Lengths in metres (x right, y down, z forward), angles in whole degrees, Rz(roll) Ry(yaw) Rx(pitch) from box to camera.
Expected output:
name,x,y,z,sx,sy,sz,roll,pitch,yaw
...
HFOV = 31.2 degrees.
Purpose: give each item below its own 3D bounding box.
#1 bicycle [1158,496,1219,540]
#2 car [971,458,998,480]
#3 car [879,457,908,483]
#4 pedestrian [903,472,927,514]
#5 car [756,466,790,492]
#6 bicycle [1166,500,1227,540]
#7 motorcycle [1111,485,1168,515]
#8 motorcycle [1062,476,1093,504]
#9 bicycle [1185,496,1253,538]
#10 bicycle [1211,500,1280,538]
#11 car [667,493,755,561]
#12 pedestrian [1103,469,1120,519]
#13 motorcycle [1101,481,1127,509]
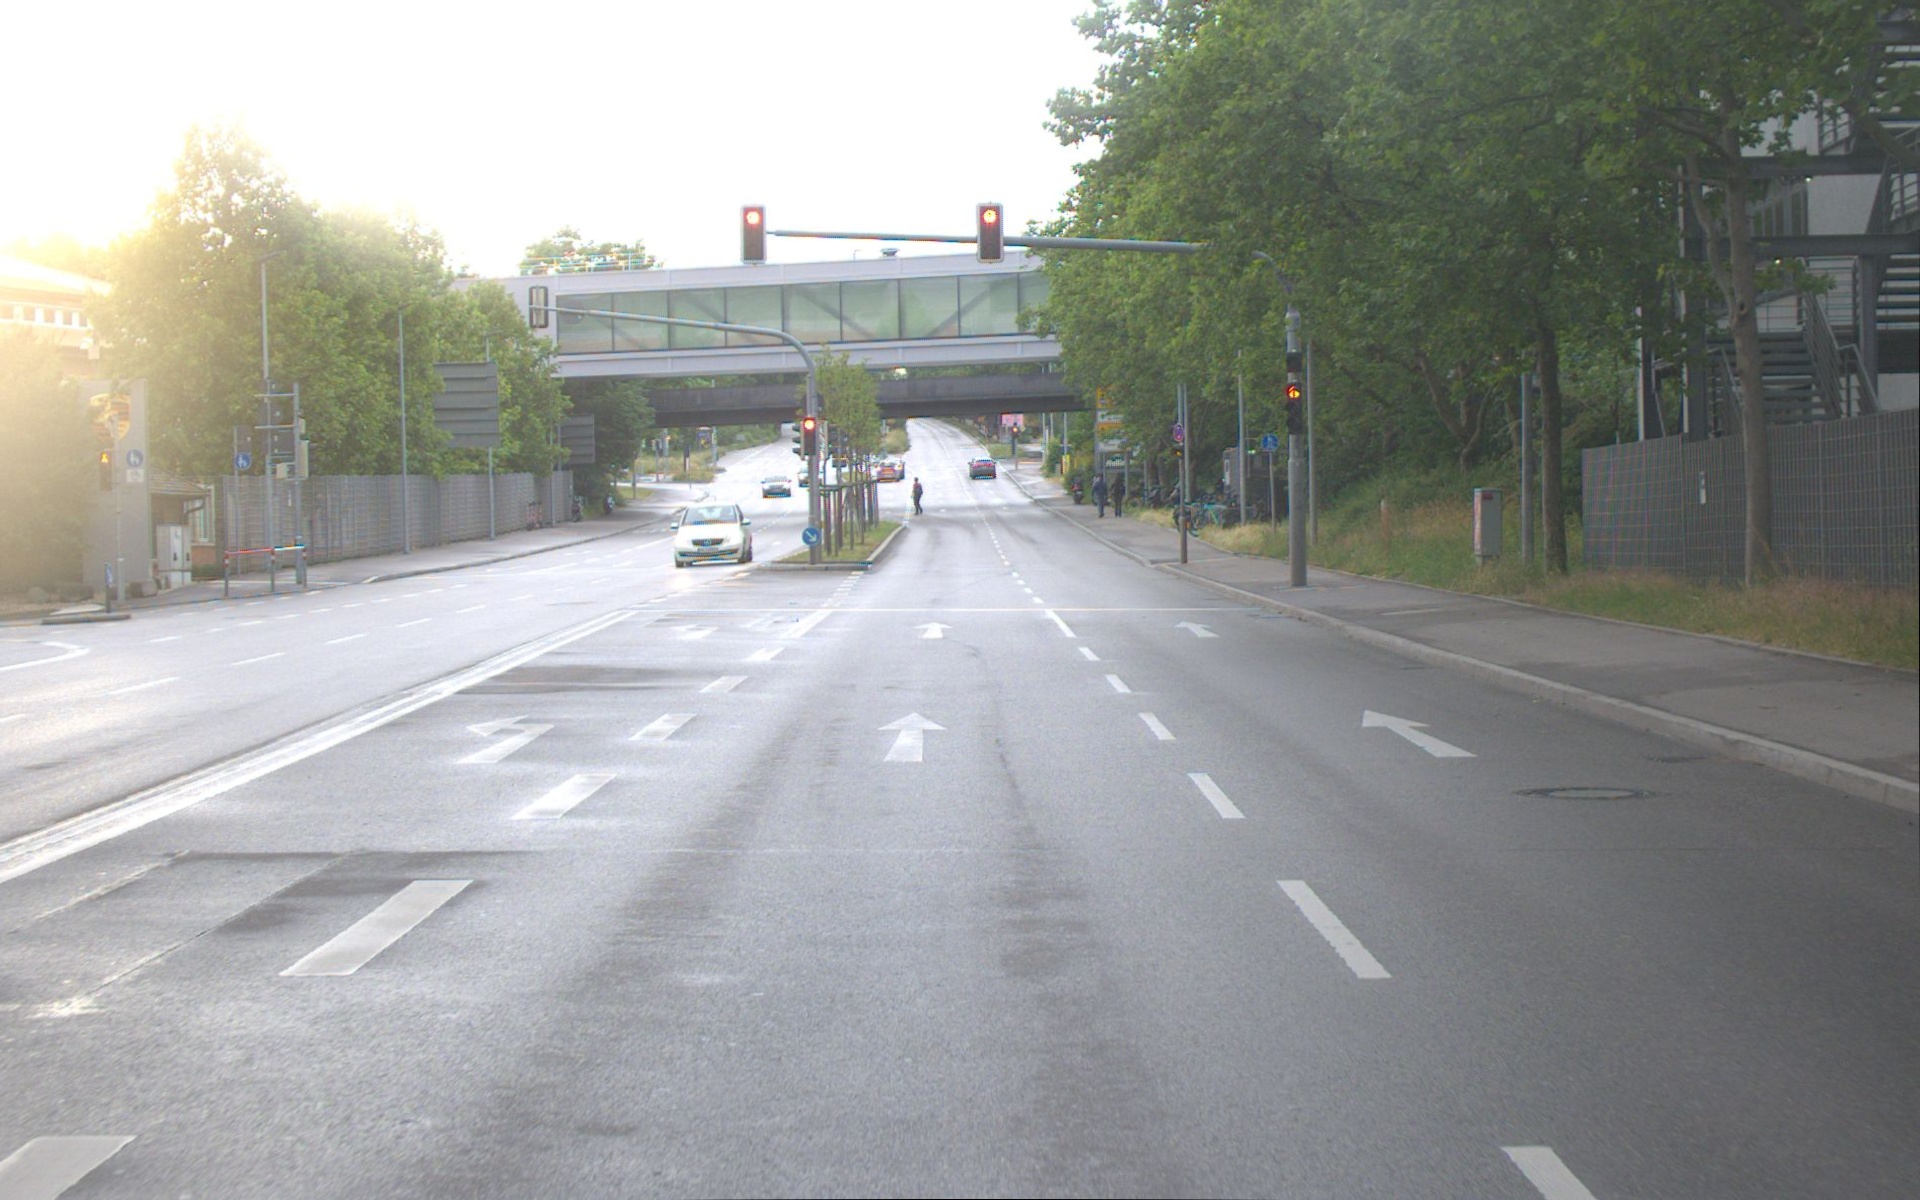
name,x,y,z,sx,sy,sz,roll,pitch,yaw
bicycle,7.631,-2.738,114.758,1.990,1.425,0.723,1,1,1
car,1.792,-9.491,249.793,1.875,1.492,4.068,1,1,1
car,-4.932,-9.588,254.196,1.993,1.756,4.000,1,1,1
pedestrian,-2.171,-5.180,166.635,0.873,1.997,0.854,-2,2,18
car,-12.203,-7.923,224.514,1.877,1.619,3.779,-2,2,1
bicycle,7.938,-2.693,115.607,1.990,1.324,0.576,1,1,1
motorcycle,7.782,-4.334,148.722,2.369,1.198,0.722,-2,2,8
motorcycle,5.901,-5.521,172.590,0.790,1.307,2.377,-3,2,-17
bicycle,7.771,-2.476,103.082,1.990,1.212,0.541,1,1,1
bicycle,8.442,-2.385,101.611,1.990,1.091,0.541,1,1,1
car,-6.308,-1.875,87.378,1.877,1.619,3.779,-2,2,1
pedestrian,6.181,-4.335,140.367,0.622,2.006,0.605,-2,1,1
motorcycle,7.495,-5.125,167.607,0.790,1.307,2.377,-2,2,-8
